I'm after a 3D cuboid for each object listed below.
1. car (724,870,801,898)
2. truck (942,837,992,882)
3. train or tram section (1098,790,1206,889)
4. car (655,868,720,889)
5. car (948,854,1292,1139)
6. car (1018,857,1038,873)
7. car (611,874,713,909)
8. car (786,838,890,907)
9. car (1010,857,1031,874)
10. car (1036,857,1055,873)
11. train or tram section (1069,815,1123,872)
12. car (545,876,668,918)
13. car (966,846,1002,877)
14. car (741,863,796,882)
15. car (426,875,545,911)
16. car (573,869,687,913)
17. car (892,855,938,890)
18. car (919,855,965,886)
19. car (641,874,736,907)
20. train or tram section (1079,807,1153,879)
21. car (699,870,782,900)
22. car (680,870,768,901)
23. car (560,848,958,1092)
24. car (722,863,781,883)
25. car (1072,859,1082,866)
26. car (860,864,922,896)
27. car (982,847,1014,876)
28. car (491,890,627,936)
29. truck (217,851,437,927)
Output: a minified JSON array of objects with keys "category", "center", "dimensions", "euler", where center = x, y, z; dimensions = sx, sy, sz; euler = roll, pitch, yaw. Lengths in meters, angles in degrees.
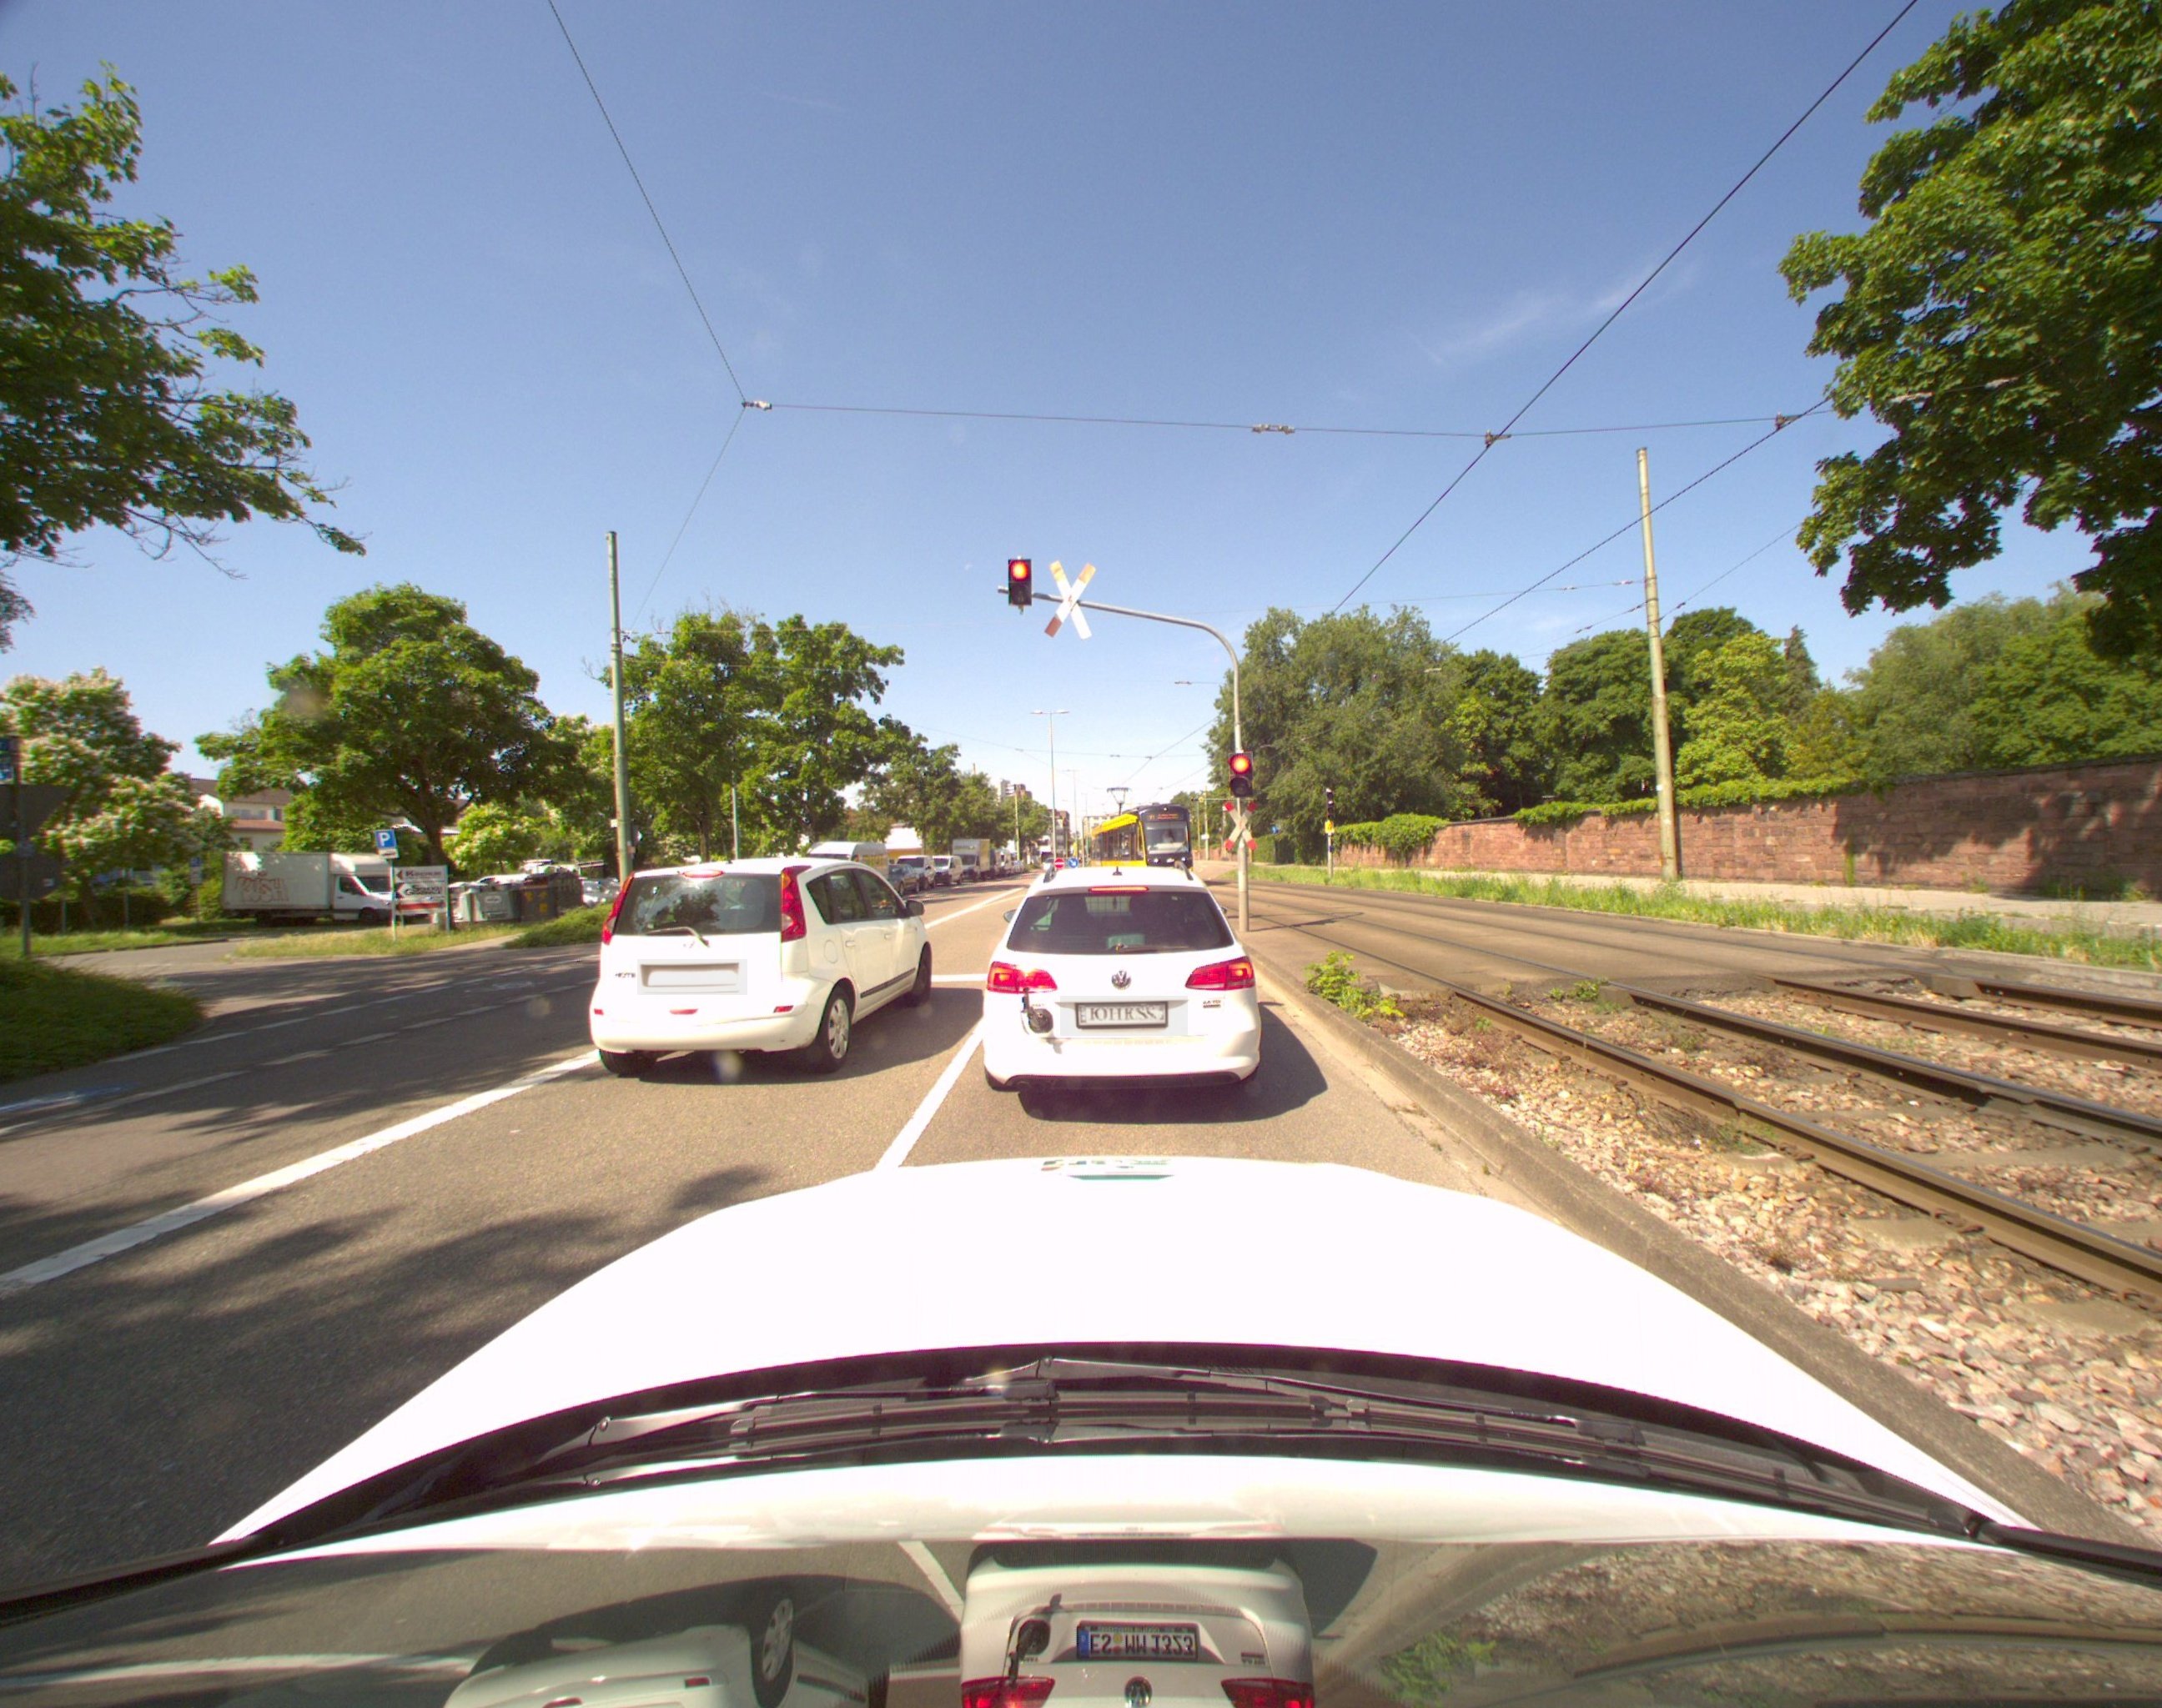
[{"category":"car","center":[-19.459,1.817,49.882],"dimensions":[3.977,1.415,1.729],"euler":[-4,-1,-3]},{"category":"truck","center":[-8.370,0.410,60.691],"dimensions":[2.411,3.150,7.001],"euler":[0,0,2]},{"category":"train or tram section","center":[3.001,-0.578,38.915],"dimensions":[2.866,3.855,12.368],"euler":[-3,0,-5]},{"category":"car","center":[-35.195,2.191,72.975],"dimensions":[4.780,1.787,2.062],"euler":[0,-1,-3]},{"category":"car","center":[0.267,0.754,6.312],"dimensions":[1.756,1.430,4.002],"euler":[-3,0,2]},{"category":"car","center":[-6.389,1.353,98.940],"dimensions":[1.856,1.868,5.415],"euler":[0,0,1]},{"category":"car","center":[-20.291,1.800,39.558],"dimensions":[3.977,1.415,1.729],"euler":[-4,-1,-3]},{"category":"car","center":[-9.578,0.683,32.675],"dimensions":[2.114,2.516,5.822],"euler":[0,0,3]},{"category":"car","center":[-6.771,1.246,92.029],"dimensions":[1.856,1.868,5.415],"euler":[0,0,1]},{"category":"car","center":[-3.852,1.203,88.444],"dimensions":[1.670,1.553,3.580],"euler":[-4,0,1]},{"category":"train or tram section","center":[0.958,-0.707,62.558],"dimensions":[2.866,3.855,10.518],"euler":[-3,0,-5]},{"category":"car","center":[-19.665,1.765,33.862],"dimensions":[3.977,1.415,1.729],"euler":[-4,-1,-3]},{"category":"car","center":[-8.145,0.614,68.690],"dimensions":[2.114,2.516,5.737],"euler":[0,0,2]},{"category":"car","center":[-31.771,1.856,82.780],"dimensions":[4.780,1.787,2.062],"euler":[0,-1,-3]},{"category":"car","center":[-31.767,2.043,43.567],"dimensions":[4.780,1.787,2.062],"euler":[0,-1,-3]},{"category":"car","center":[-19.914,1.624,36.069],"dimensions":[3.977,1.610,1.729],"euler":[-4,-1,-3]},{"category":"car","center":[-9.230,0.988,45.686],"dimensions":[1.859,1.868,5.068],"euler":[0,0,-3]},{"category":"car","center":[-8.867,1.009,52.270],"dimensions":[1.856,1.868,5.415],"euler":[0,0,1]},{"category":"car","center":[-20.285,1.864,42.194],"dimensions":[3.977,1.415,1.729],"euler":[-4,-1,-3]},{"category":"train or tram section","center":[1.931,-0.588,51.127],"dimensions":[2.866,3.855,12.368],"euler":[-3,0,-5]},{"category":"car","center":[-19.606,1.763,47.066],"dimensions":[3.977,1.415,1.729],"euler":[-4,-1,-3]},{"category":"car","center":[-19.536,1.718,44.732],"dimensions":[3.977,1.415,1.729],"euler":[-4,-1,-3]},{"category":"car","center":[-2.432,0.751,7.540],"dimensions":[1.655,1.547,4.550],"euler":[-1,0,3]},{"category":"car","center":[-31.469,1.814,77.947],"dimensions":[4.780,1.787,2.062],"euler":[0,-1,-3]},{"category":"car","center":[-0.829,1.781,173.785],"dimensions":[1.698,1.473,4.593],"euler":[-3,0,3]},{"category":"car","center":[-9.048,1.219,39.138],"dimensions":[1.856,1.415,4.281],"euler":[0,0,1]},{"category":"car","center":[-7.692,0.674,76.120],"dimensions":[2.114,2.516,5.737],"euler":[0,0,2]},{"category":"car","center":[-19.897,2.230,31.169],"dimensions":[3.977,1.415,1.729],"euler":[-4,-1,-3]},{"category":"truck","center":[-32.445,1.475,35.240],"dimensions":[6.978,3.110,2.677],"euler":[0,0,0]}]
